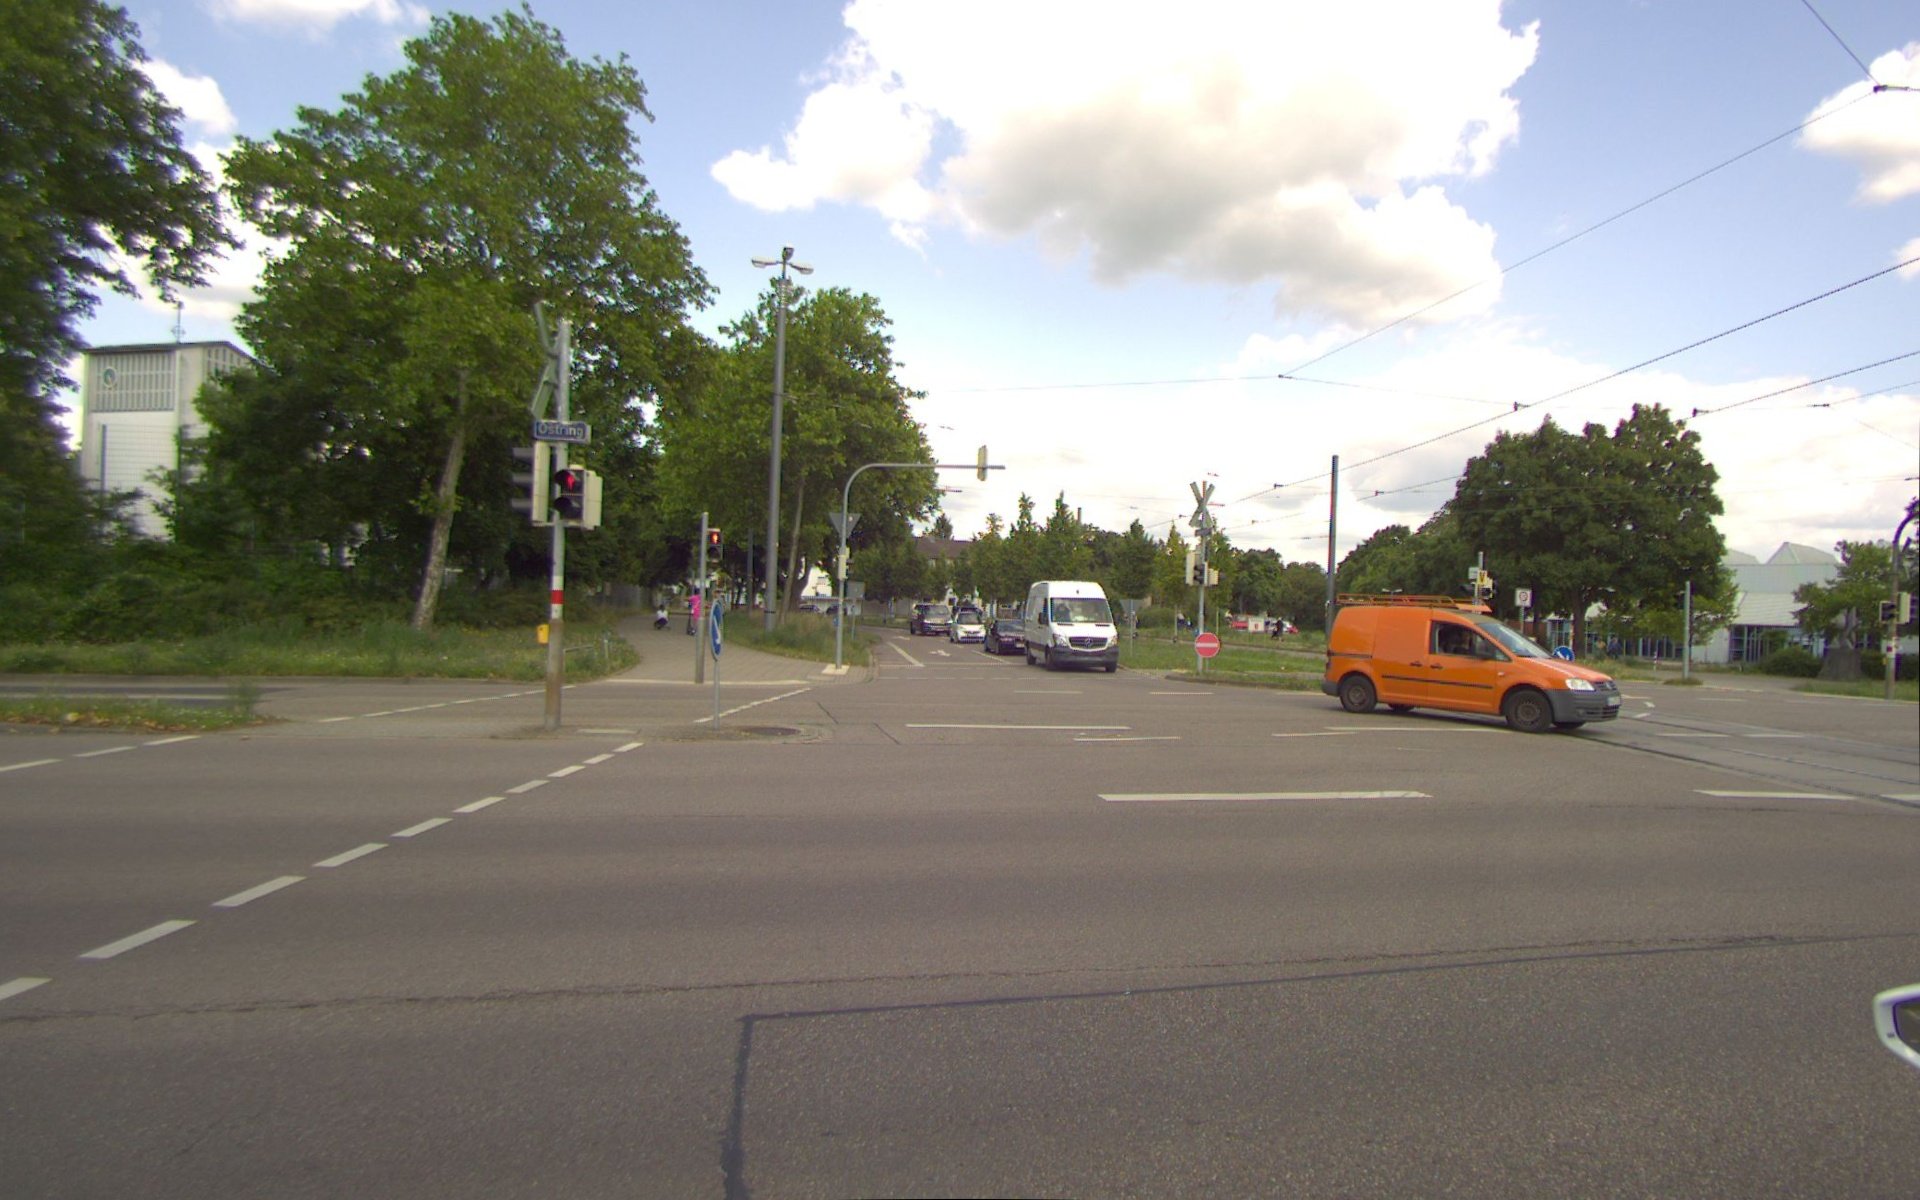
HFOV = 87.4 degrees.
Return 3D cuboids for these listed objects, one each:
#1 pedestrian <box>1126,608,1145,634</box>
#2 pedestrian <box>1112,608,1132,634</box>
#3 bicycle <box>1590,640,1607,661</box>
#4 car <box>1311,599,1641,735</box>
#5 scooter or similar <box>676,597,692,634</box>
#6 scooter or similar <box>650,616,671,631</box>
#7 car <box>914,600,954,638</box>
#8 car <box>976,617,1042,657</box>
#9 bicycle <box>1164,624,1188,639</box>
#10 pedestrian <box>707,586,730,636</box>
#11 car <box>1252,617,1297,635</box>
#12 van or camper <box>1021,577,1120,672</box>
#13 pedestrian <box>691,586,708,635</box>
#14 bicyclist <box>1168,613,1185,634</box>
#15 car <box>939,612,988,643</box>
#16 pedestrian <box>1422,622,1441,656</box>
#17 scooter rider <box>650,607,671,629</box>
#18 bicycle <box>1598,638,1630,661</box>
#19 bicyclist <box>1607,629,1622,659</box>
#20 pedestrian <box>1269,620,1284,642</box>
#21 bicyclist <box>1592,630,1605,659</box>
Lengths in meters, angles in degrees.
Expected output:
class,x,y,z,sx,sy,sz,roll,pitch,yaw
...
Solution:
class,x,y,z,sx,sy,sz,roll,pitch,yaw
pedestrian,14.211,1.723,81.372,1.088,2.040,1.173,2,0,-16
pedestrian,13.070,1.674,81.078,1.088,2.040,1.173,2,0,-16
bicycle,35.988,2.847,56.644,0.551,1.145,1.379,2,-1,23
car,8.097,0.948,16.115,1.868,1.824,4.321,2,-1,-39
scooter or similar,-9.341,0.530,33.988,0.315,1.248,0.776,0,0,1
scooter or similar,-10.637,0.833,35.731,0.600,0.518,0.856,0,0,-9
car,-1.644,1.160,61.804,1.822,2.184,4.376,2,-1,-9
car,1.884,1.424,39.813,1.778,1.450,4.463,2,-1,-8
bicycle,16.239,2.393,75.524,0.936,1.054,1.977,2,0,-17
pedestrian,-8.199,0.372,34.099,0.620,1.641,0.610,1,0,-1
car,29.669,2.468,94.936,3.919,1.550,2.001,2,0,16
van or camper,3.149,0.690,29.966,1.944,2.558,6.034,0,-1,-4
pedestrian,-8.809,0.358,33.987,0.413,1.641,0.596,1,0,-1
bicyclist,16.279,1.768,75.483,0.948,1.509,0.833,2,0,-18
car,0.134,1.364,51.514,1.779,1.450,4.376,2,-1,-9
pedestrian,23.343,1.921,49.764,0.604,1.666,0.634,0,0,-24
scooter rider,-10.641,0.637,35.733,0.601,0.738,0.858,0,0,-9
bicycle,34.973,2.659,53.724,1.359,1.145,0.560,3,0,40
bicyclist,35.003,2.340,53.713,0.548,1.574,0.485,3,1,40
pedestrian,20.196,1.983,64.104,0.639,1.372,0.751,0,0,-10
bicyclist,36.017,2.513,56.677,0.478,1.574,0.556,3,0,22
